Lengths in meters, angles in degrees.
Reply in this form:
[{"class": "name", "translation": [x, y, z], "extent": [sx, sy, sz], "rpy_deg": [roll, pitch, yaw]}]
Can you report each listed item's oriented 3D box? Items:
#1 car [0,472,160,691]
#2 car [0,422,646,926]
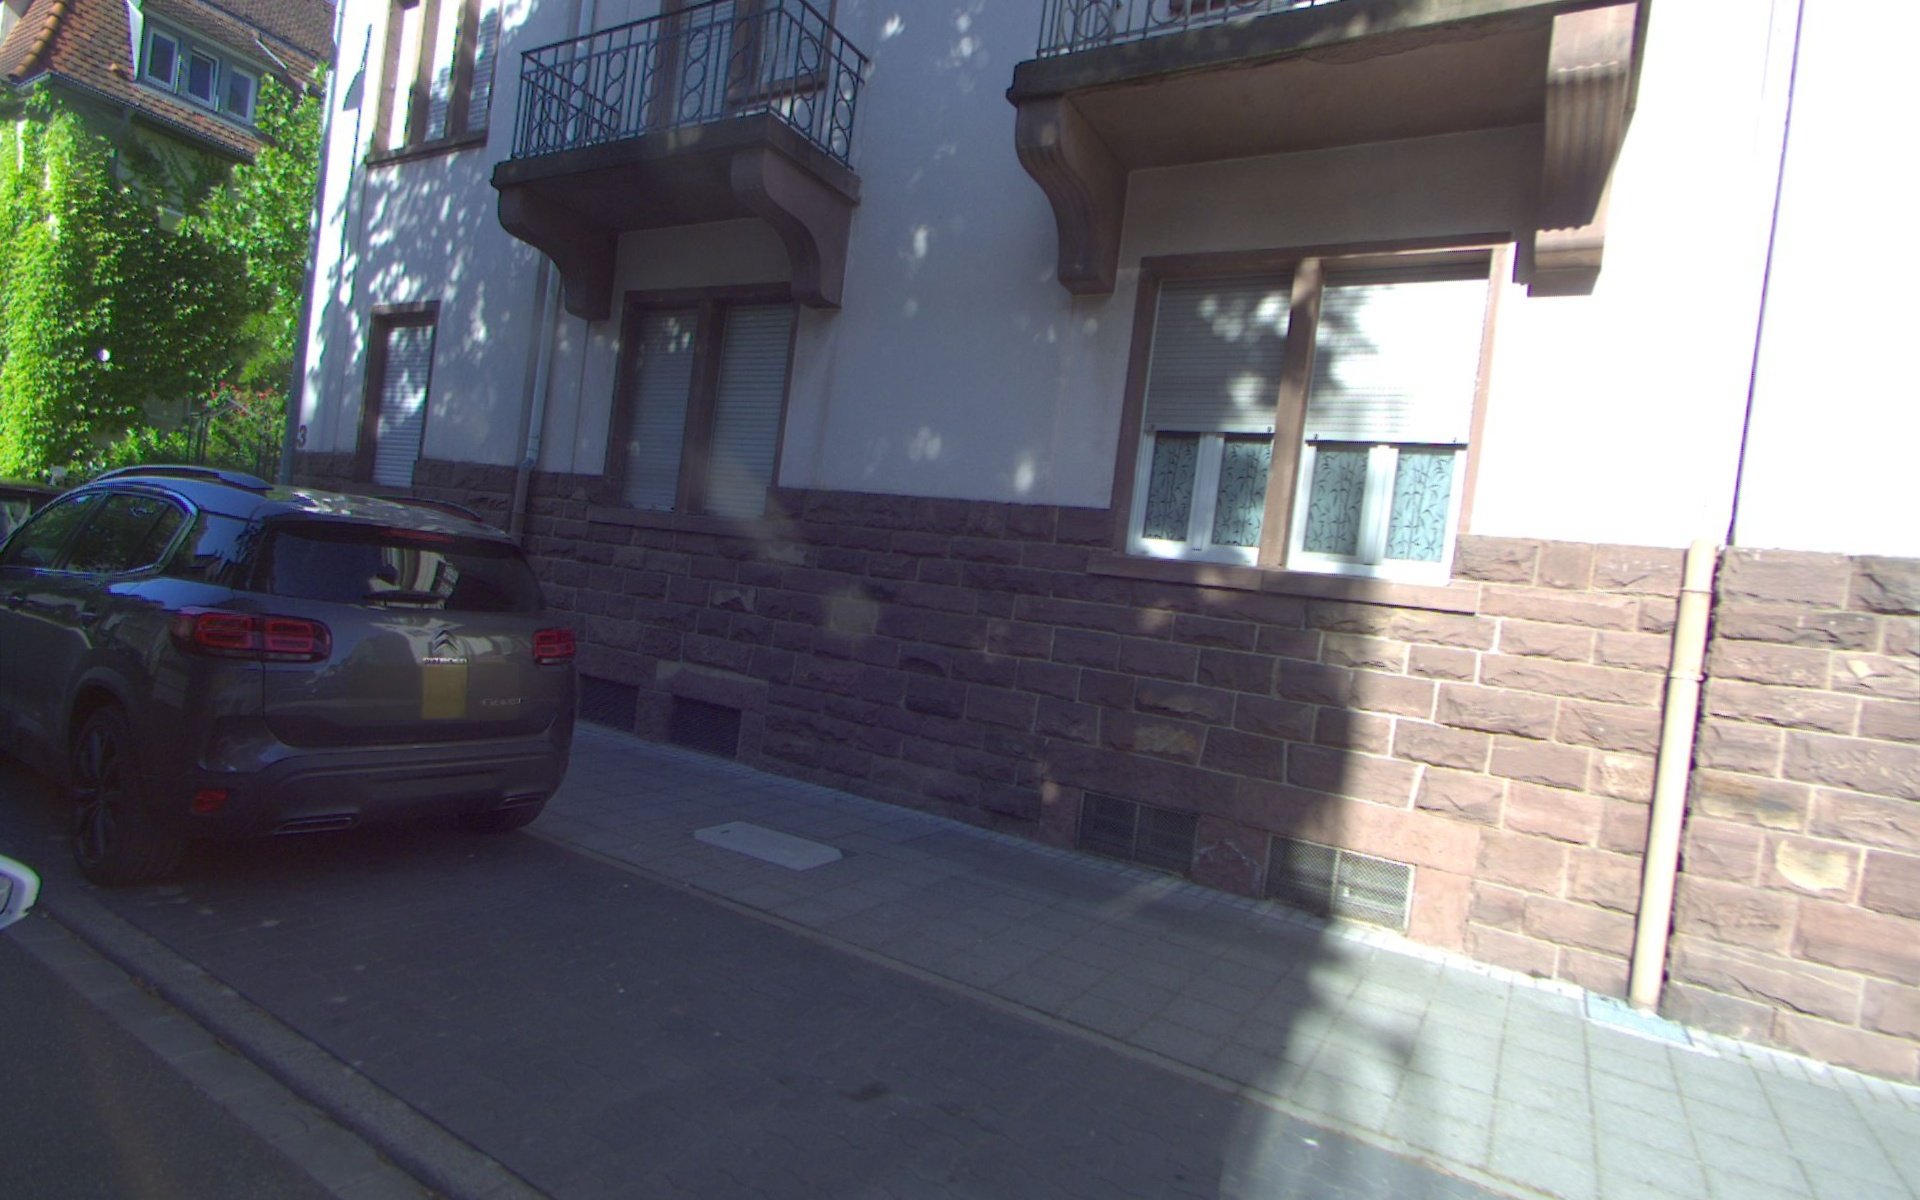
[{"class": "car", "translation": [-8.118, -0.248, 8.098], "extent": [2.821, 1.567, 1.628], "rpy_deg": [6, -2, 31]}, {"class": "car", "translation": [-3.895, 0.166, 5.289], "extent": [4.249, 1.715, 1.782], "rpy_deg": [6, -3, 32]}]
